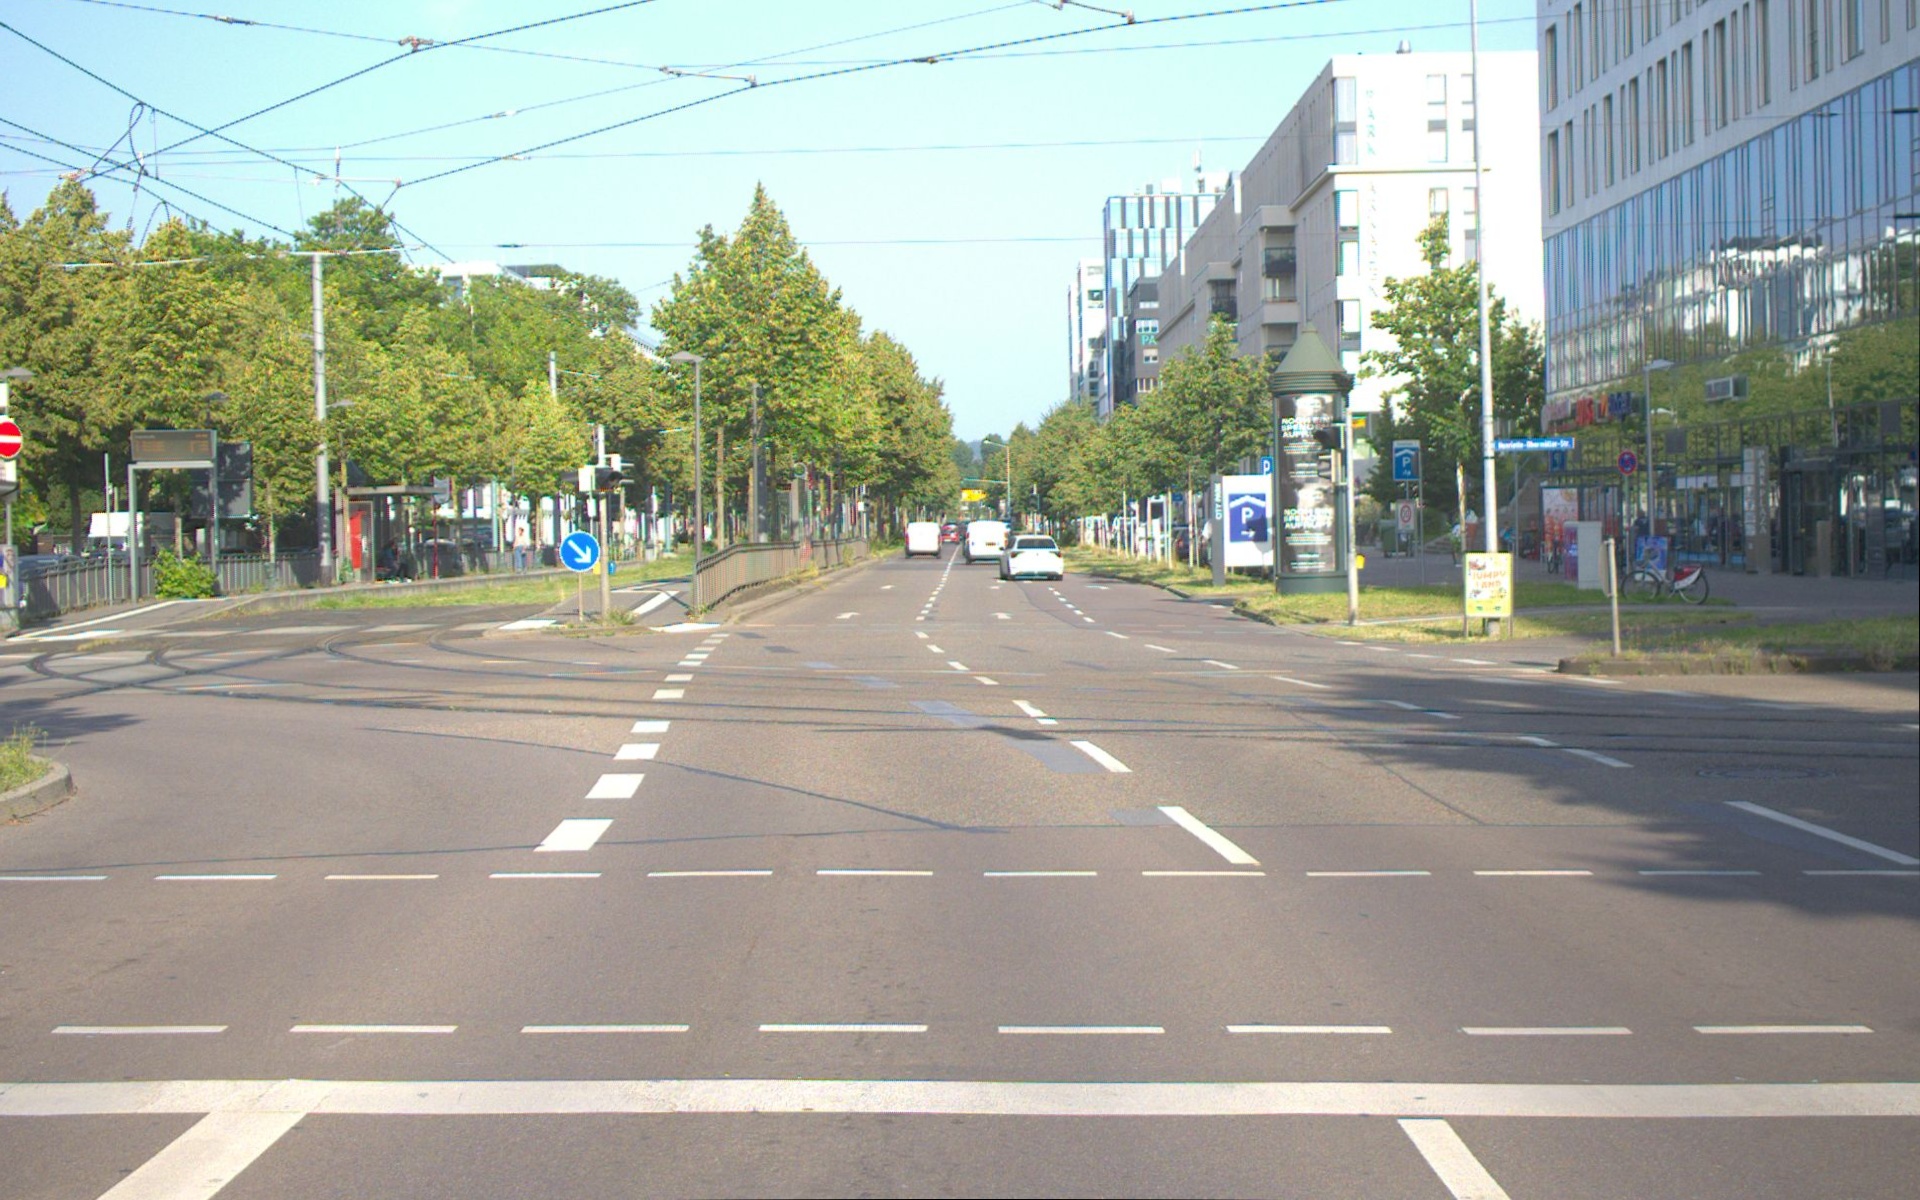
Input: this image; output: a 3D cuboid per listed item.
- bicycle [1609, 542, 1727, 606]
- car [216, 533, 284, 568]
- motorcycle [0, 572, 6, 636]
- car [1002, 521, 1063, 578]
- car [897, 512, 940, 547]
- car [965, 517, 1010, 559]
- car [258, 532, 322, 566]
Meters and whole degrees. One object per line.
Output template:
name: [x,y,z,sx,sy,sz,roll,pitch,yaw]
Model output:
bicycle: [12.225,-0.455,59.365,0.771,1.028,1.878,-2,4,-43]
car: [-32.286,-2.258,156.490,1.881,1.554,3.999,-1,1,6]
motorcycle: [-19.227,0.102,66.908,0.818,1.259,2.550,0,1,-5]
car: [2.255,-1.594,107.366,1.864,1.678,4.000,1,2,1]
car: [-2.070,-3.523,170.934,2.015,1.678,4.000,1,2,1]
car: [1.178,-2.645,145.773,1.864,1.678,4.000,1,2,1]
car: [-31.721,-2.437,162.905,1.881,1.554,3.999,-1,1,6]
